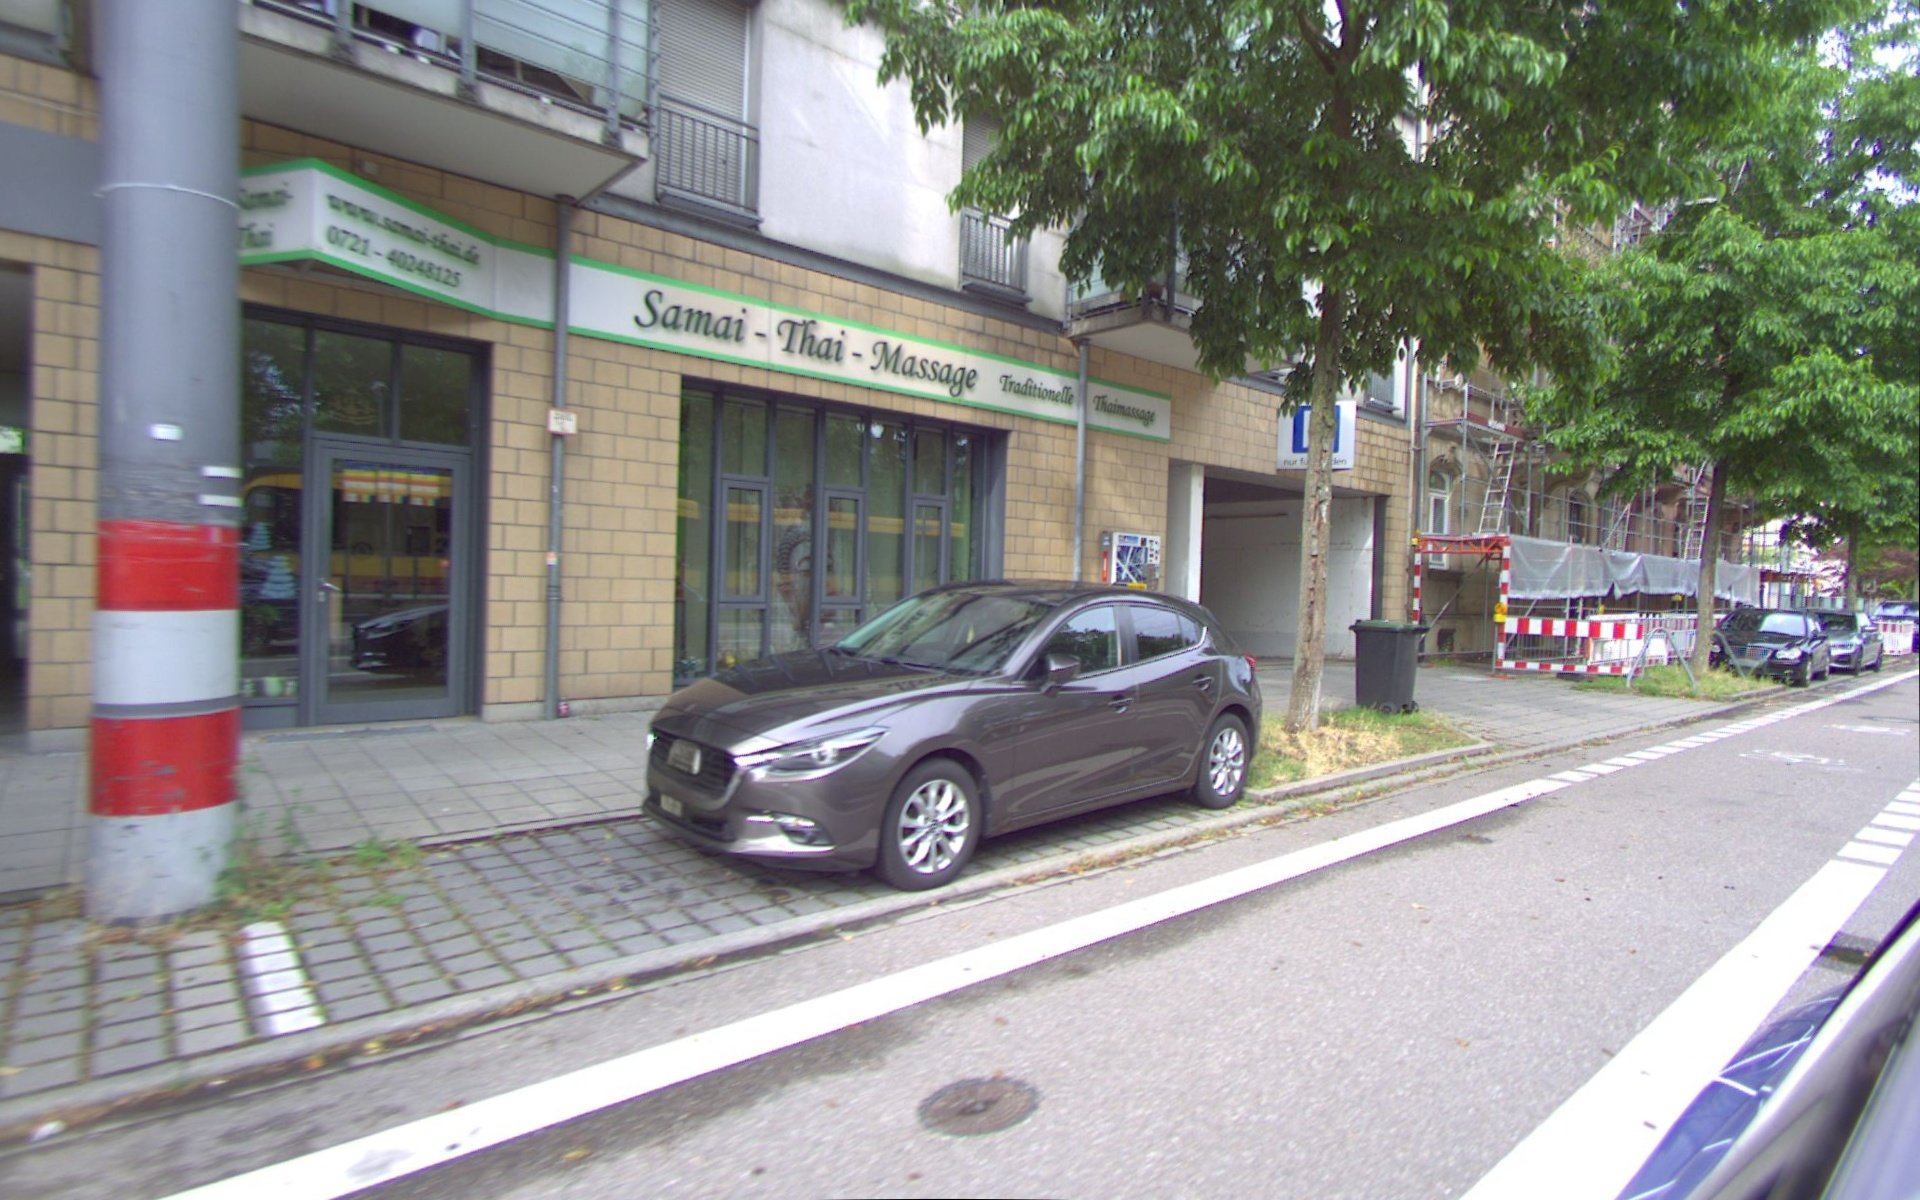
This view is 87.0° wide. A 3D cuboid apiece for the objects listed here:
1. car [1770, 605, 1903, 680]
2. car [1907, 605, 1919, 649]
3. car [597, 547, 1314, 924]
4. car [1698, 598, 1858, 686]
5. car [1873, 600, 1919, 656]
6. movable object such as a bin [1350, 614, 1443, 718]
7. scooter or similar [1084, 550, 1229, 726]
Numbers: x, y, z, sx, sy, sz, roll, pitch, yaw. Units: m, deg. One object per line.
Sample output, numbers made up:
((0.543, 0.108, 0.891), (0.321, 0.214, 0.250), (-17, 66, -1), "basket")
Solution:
((20.625, 0.924, 23.753), (4.205, 1.479, 1.754), (0, 3, -42), "car")
((39.517, 1.126, 40.574), (3.697, 1.716, 1.836), (0, 3, -41), "car")
((0.248, 0.526, 6.262), (4.315, 1.473, 1.801), (0, 4, -43), "car")
((16.395, 0.768, 20.213), (4.205, 1.479, 1.754), (0, 3, -42), "car")
((32.714, 0.951, 34.486), (4.205, 1.751, 1.836), (0, 3, -42), "car")
((4.845, 0.712, 11.246), (0.531, 1.067, 0.763), (1, 2, -41), "movable object such as a bin")
((1.795, 0.312, 9.151), (1.318, 1.472, 0.516), (1, 3, -41), "scooter or similar")
